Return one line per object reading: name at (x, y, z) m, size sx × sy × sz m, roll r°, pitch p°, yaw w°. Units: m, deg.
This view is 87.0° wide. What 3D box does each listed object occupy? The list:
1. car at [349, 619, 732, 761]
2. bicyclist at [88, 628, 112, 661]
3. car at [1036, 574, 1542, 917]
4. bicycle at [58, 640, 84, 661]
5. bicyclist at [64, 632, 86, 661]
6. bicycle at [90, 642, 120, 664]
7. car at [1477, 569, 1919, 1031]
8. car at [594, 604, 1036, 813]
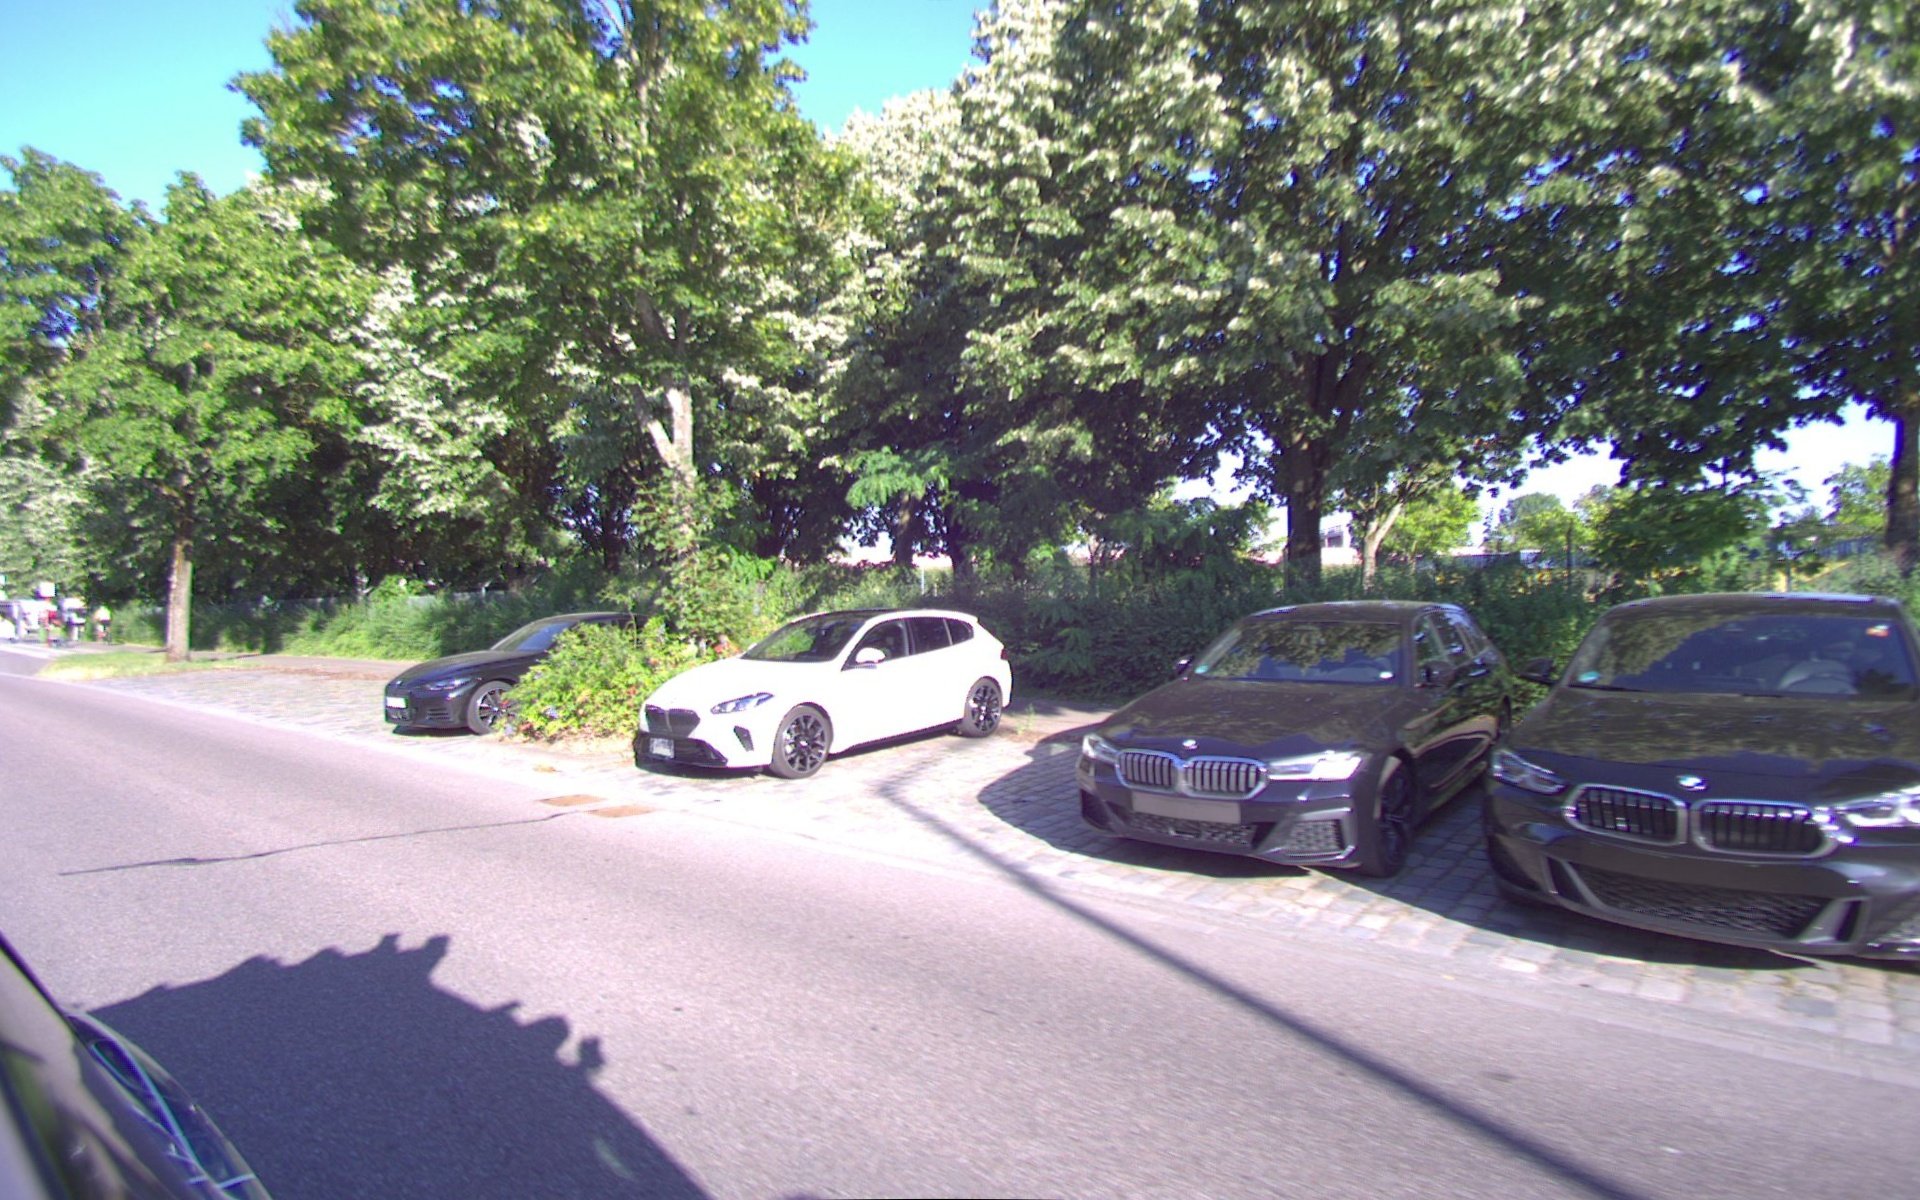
car at (-5.642, 1.099, 14.177) m, size 1.914 × 1.432 × 4.605 m, roll -2°, pitch 1°, yaw 38°
bicyclist at (-41.286, 2.115, 48.571) m, size 0.950 × 1.541 × 0.723 m, roll -2°, pitch -2°, yaw 40°
car at (2.692, 0.651, 7.256) m, size 1.996 × 1.542 × 4.806 m, roll -2°, pitch 1°, yaw 37°
bicycle at (-47.250, 2.667, 53.782) m, size 2.215 × 1.047 × 0.758 m, roll -2°, pitch -1°, yaw 40°
bicyclist at (-46.827, 2.451, 53.533) m, size 0.950 × 1.541 × 0.723 m, roll -2°, pitch -2°, yaw 40°
bicycle at (-41.188, 2.539, 48.732) m, size 2.216 × 1.047 × 0.758 m, roll -2°, pitch -1°, yaw 40°
car at (4.446, 0.658, 5.448) m, size 1.998 × 1.542 × 4.435 m, roll -2°, pitch 1°, yaw 40°
car at (-1.294, 0.910, 10.501) m, size 1.999 × 1.542 × 4.243 m, roll -2°, pitch 1°, yaw 41°
